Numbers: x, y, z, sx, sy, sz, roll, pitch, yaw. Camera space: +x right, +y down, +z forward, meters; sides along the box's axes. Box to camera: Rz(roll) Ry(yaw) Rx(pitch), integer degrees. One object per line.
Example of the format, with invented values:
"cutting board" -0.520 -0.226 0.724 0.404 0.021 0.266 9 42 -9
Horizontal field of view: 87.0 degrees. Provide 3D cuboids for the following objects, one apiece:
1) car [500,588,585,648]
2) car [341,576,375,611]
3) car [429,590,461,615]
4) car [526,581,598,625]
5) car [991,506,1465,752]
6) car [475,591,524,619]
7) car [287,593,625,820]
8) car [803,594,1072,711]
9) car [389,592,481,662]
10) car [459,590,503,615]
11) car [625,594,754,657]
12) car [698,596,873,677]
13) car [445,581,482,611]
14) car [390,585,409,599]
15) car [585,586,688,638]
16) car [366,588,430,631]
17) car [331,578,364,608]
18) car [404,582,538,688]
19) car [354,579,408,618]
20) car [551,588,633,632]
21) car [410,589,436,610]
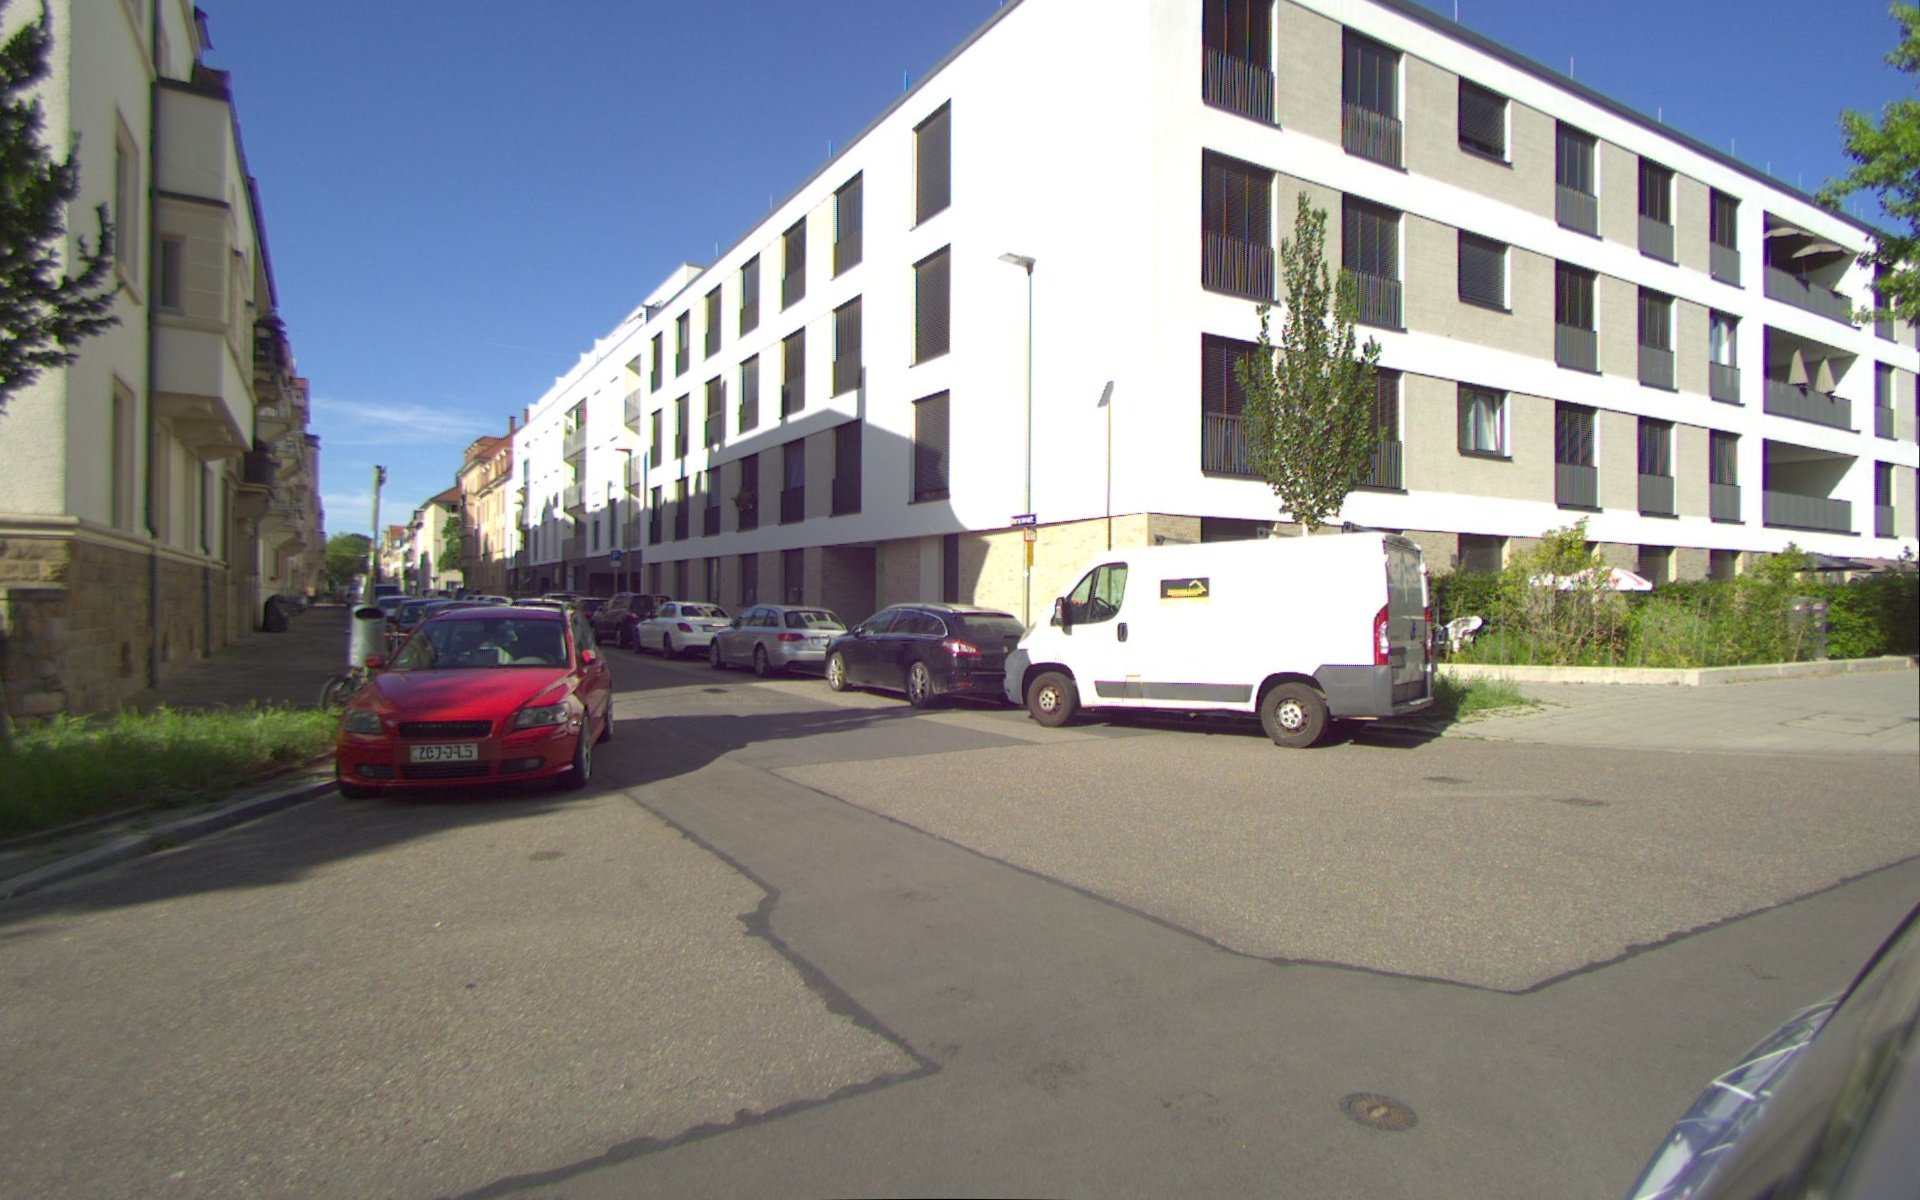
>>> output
"car" -11.881 0.452 28.685 1.752 1.542 4.005 0 1 -29
"car" -54.874 -0.569 92.185 2.525 3.005 6.221 0 0 -32
"car" -42.983 0.195 84.397 1.927 2.025 4.531 0 -1 -32
"car" -16.260 0.143 41.196 1.927 1.707 4.531 0 -1 -32
"car" 3.040 0.244 12.044 5.028 2.335 2.205 1 0 37
"car" -26.043 0.293 57.098 1.927 1.488 4.531 0 -1 -32
"car" -4.208 0.694 9.296 1.912 1.488 4.743 0 1 -16
"car" -0.560 0.673 15.853 2.007 1.488 4.948 0 0 -32
"car" -12.616 0.579 24.211 1.790 1.488 4.949 0 0 -29
"car" -29.492 0.174 62.193 1.927 1.488 4.531 0 -1 -32
"car" -7.248 0.641 26.714 1.927 1.488 4.946 0 -1 -32
"car" -3.771 0.685 21.045 1.922 1.447 4.948 2 -1 -31
"car" -35.397 -0.270 72.100 1.927 2.025 4.531 0 -1 -32
"car" -79.763 -1.152 144.081 1.962 1.881 3.999 0 0 -35
"car" -10.005 0.367 31.073 1.927 1.488 4.531 0 -1 -32
"car" -21.845 0.340 39.287 1.961 1.572 4.436 0 0 -32
"car" -64.108 -0.734 105.917 2.527 3.005 6.217 0 0 -35
"car" -8.908 0.525 18.257 1.798 1.661 4.188 0 1 -31
"car" -27.746 -0.049 48.424 2.054 1.755 4.818 0 0 -32
"car" -13.504 0.362 36.965 1.927 1.488 4.531 0 -1 -32
"car" -52.303 -0.019 98.516 1.927 2.025 4.531 0 -1 -32
